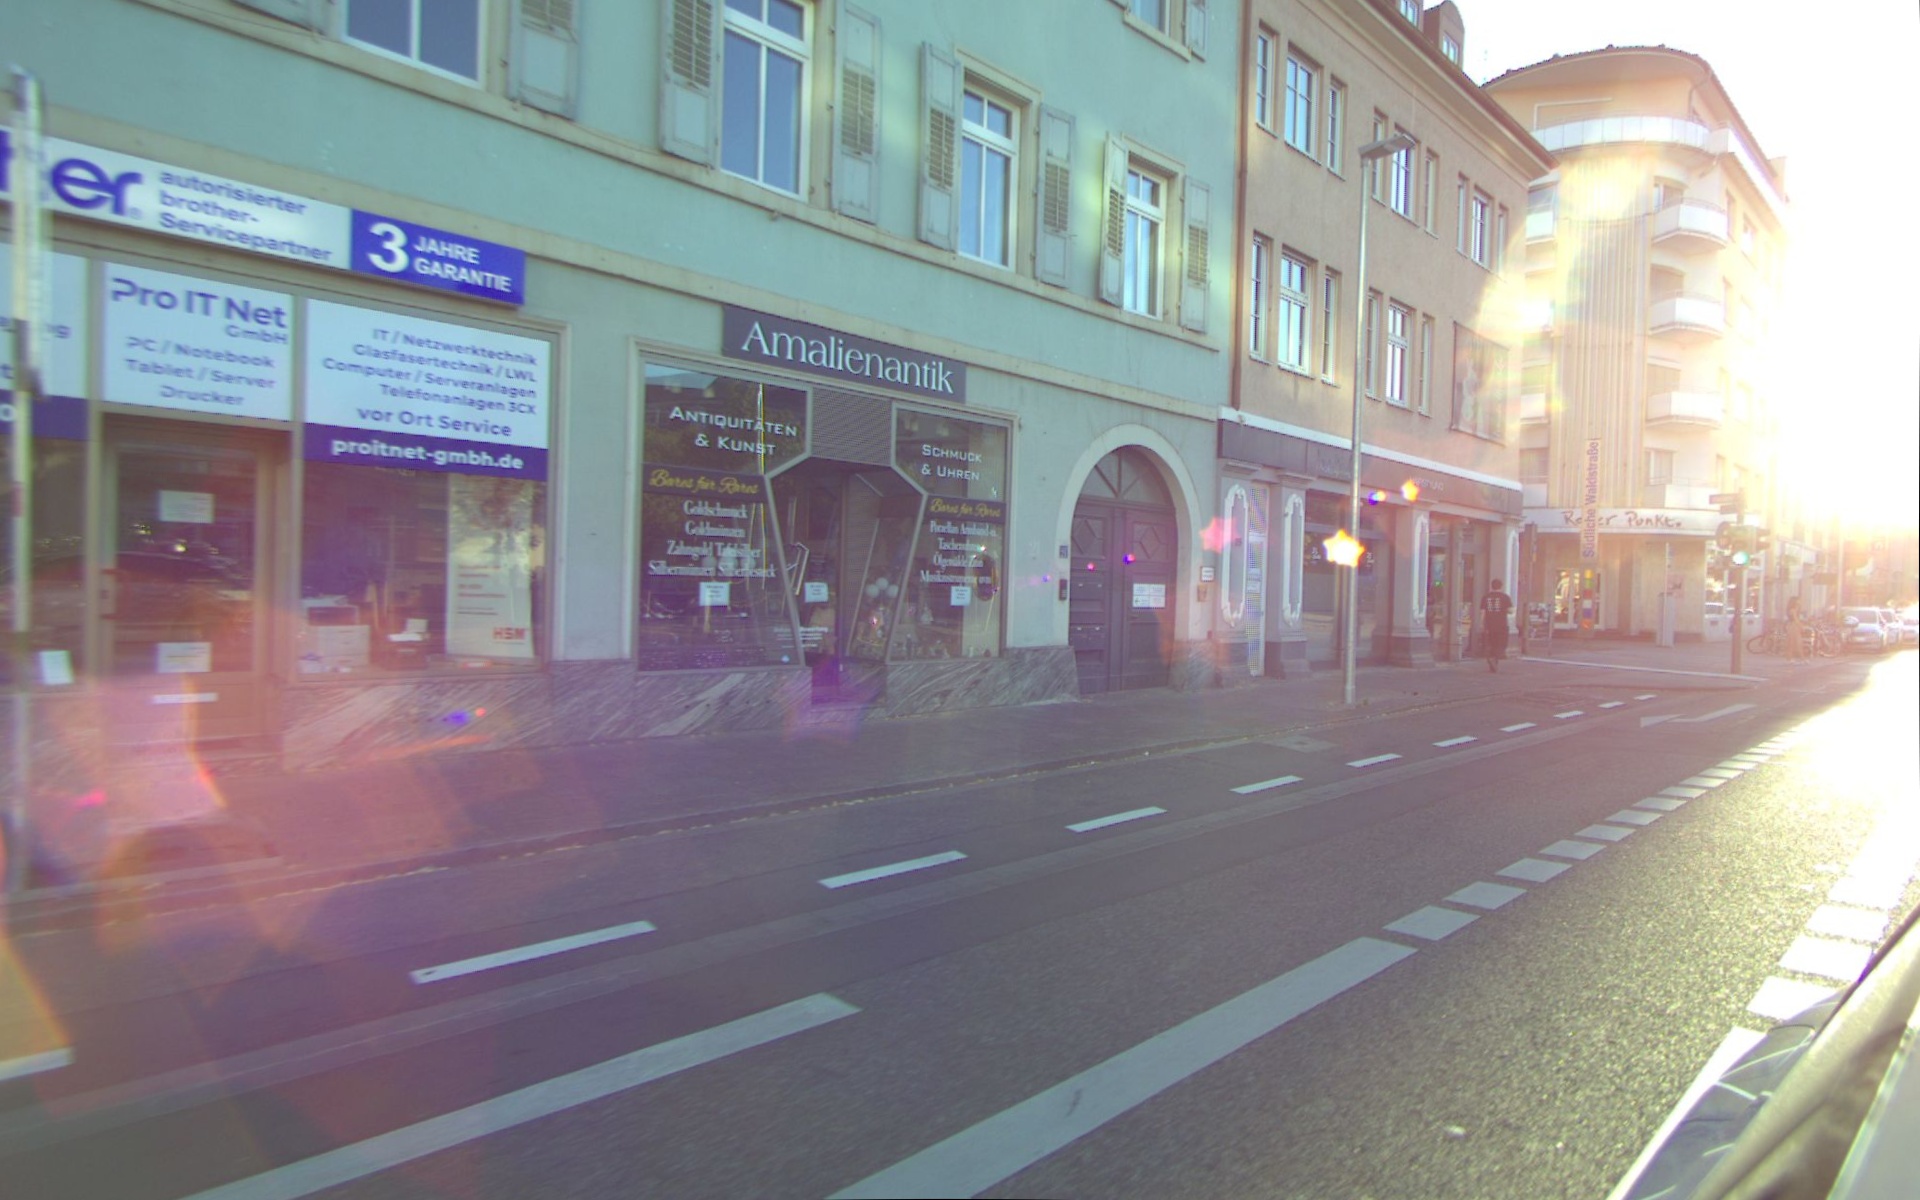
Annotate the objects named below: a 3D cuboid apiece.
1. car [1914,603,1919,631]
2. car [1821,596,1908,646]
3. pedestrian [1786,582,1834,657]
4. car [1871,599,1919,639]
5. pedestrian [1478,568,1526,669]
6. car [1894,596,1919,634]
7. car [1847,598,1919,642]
[{"bbox_3d":[59.490,1.029,61.515,4.435,1.567,1.995,-1,1,-44],"label":"car"},{"bbox_3d":[31.836,0.683,35.570,4.435,1.567,1.995,-1,1,-44],"label":"car"},{"bbox_3d":[20.636,0.456,24.571,0.689,1.768,0.840,0,0,-43],"label":"pedestrian"},{"bbox_3d":[40.598,0.776,43.270,4.432,1.567,1.996,-1,1,-42],"label":"car"},{"bbox_3d":[10.136,0.318,18.924,0.668,1.806,0.714,4,3,31],"label":"pedestrian"},{"bbox_3d":[44.996,0.656,46.969,4.432,1.668,1.996,-1,1,-42],"label":"car"},{"bbox_3d":[36.476,0.732,39.839,4.435,1.567,1.995,-1,1,-44],"label":"car"}]
